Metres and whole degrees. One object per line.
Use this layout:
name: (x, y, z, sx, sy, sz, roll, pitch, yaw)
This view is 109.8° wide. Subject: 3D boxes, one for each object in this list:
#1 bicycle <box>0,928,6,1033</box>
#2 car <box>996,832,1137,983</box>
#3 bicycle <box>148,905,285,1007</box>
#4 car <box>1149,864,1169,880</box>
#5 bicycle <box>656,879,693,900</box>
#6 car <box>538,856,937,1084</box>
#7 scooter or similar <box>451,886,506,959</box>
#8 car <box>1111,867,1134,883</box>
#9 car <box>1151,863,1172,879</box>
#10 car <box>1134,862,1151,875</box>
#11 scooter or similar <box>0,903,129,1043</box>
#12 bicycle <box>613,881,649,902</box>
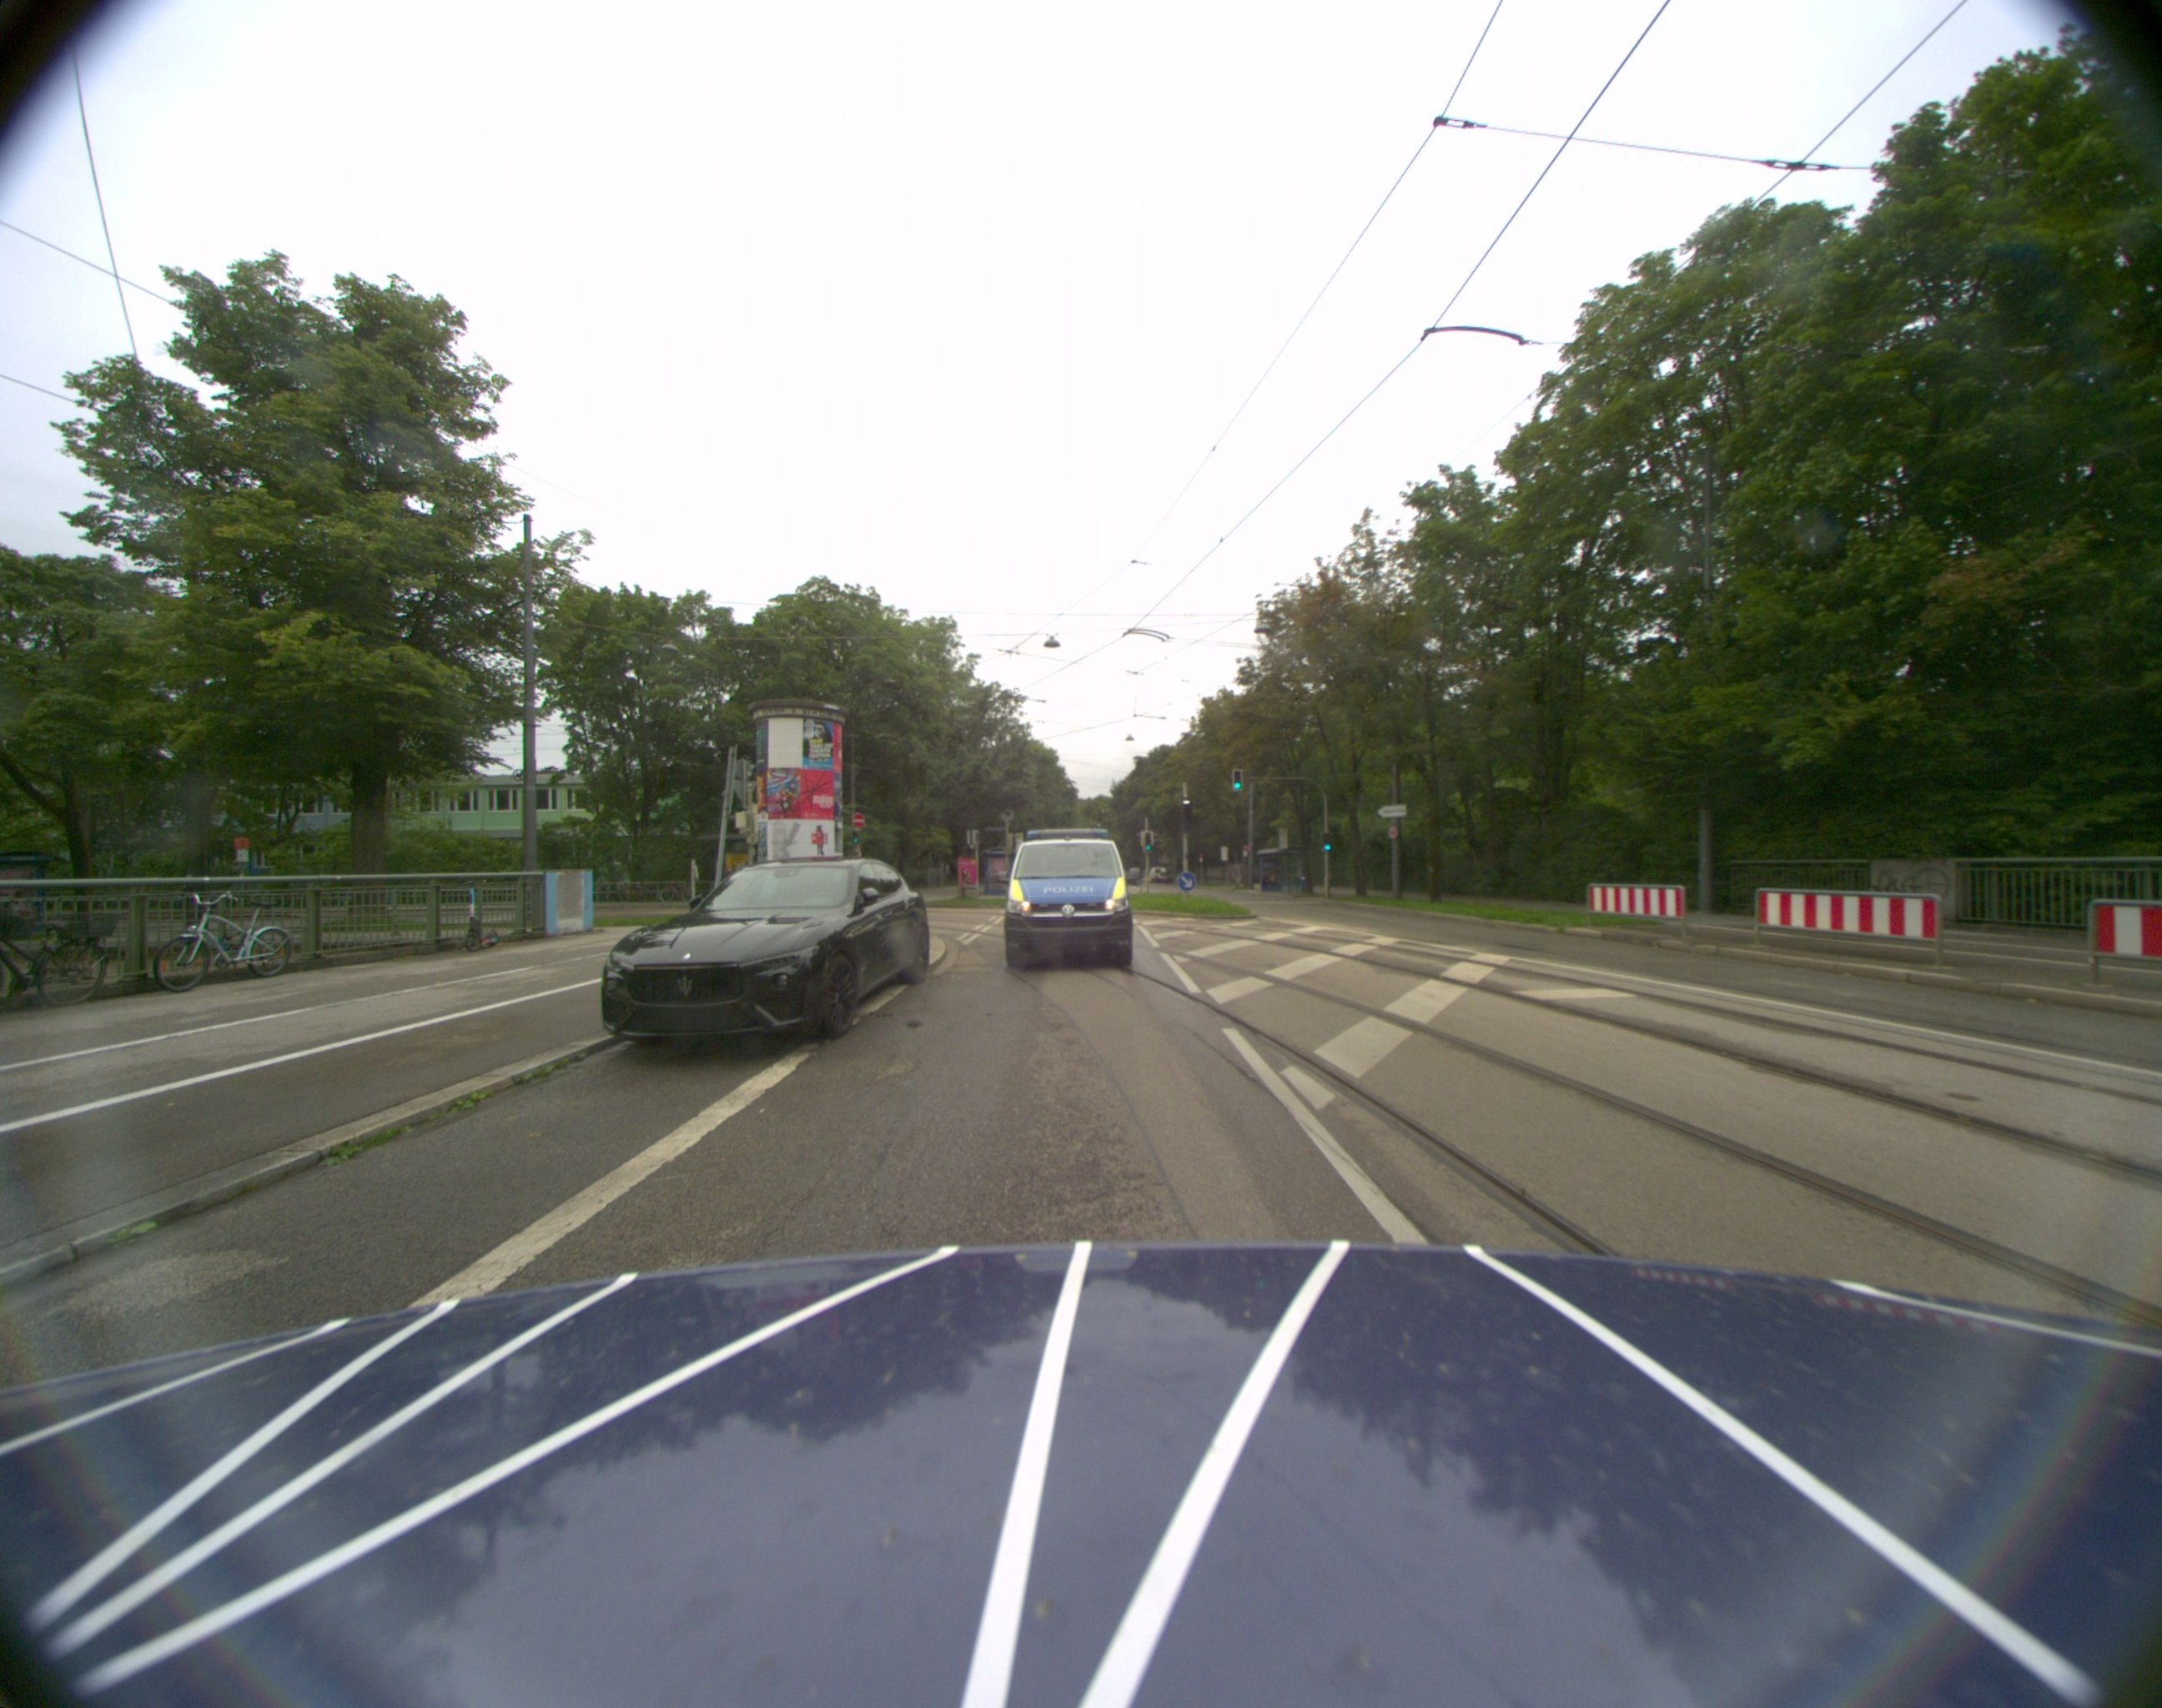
bicycle: (-10.601, 1.126, 6.819, 0.283, 1.274, 1.408, -3, 0, -19)
car: (-0.241, 0.732, 13.247, 1.903, 2.041, 5.708, -1, 0, -1)
bicycle: (-10.751, 1.226, 9.513, 0.265, 1.076, 1.540, -3, 0, -14)
car: (9.302, 2.107, 90.788, 1.888, 1.716, 3.999, -3, 0, -1)
bicycle: (-18.815, 1.629, 35.188, 1.483, 0.946, 0.373, -1, 1, 3)
car: (-2.981, 0.884, 7.936, 1.905, 1.600, 4.665, -2, -1, 1)
scooter or similar: (-10.631, 1.187, 13.437, 0.225, 1.205, 1.020, -3, 0, -8)
car: (3.896, 1.963, 72.173, 1.628, 1.380, 4.839, 1, -1, -3)
car: (8.981, 1.887, 85.013, 1.888, 1.531, 3.999, -3, 0, -1)
car: (8.561, 1.968, 105.450, 1.888, 1.716, 3.999, -3, 0, -1)
scooter or similar: (-10.596, 1.168, 7.812, 0.245, 1.255, 1.493, -3, 0, -22)
bicycle: (-20.977, 1.734, 35.429, 1.483, 0.946, 0.373, -1, 1, 3)
